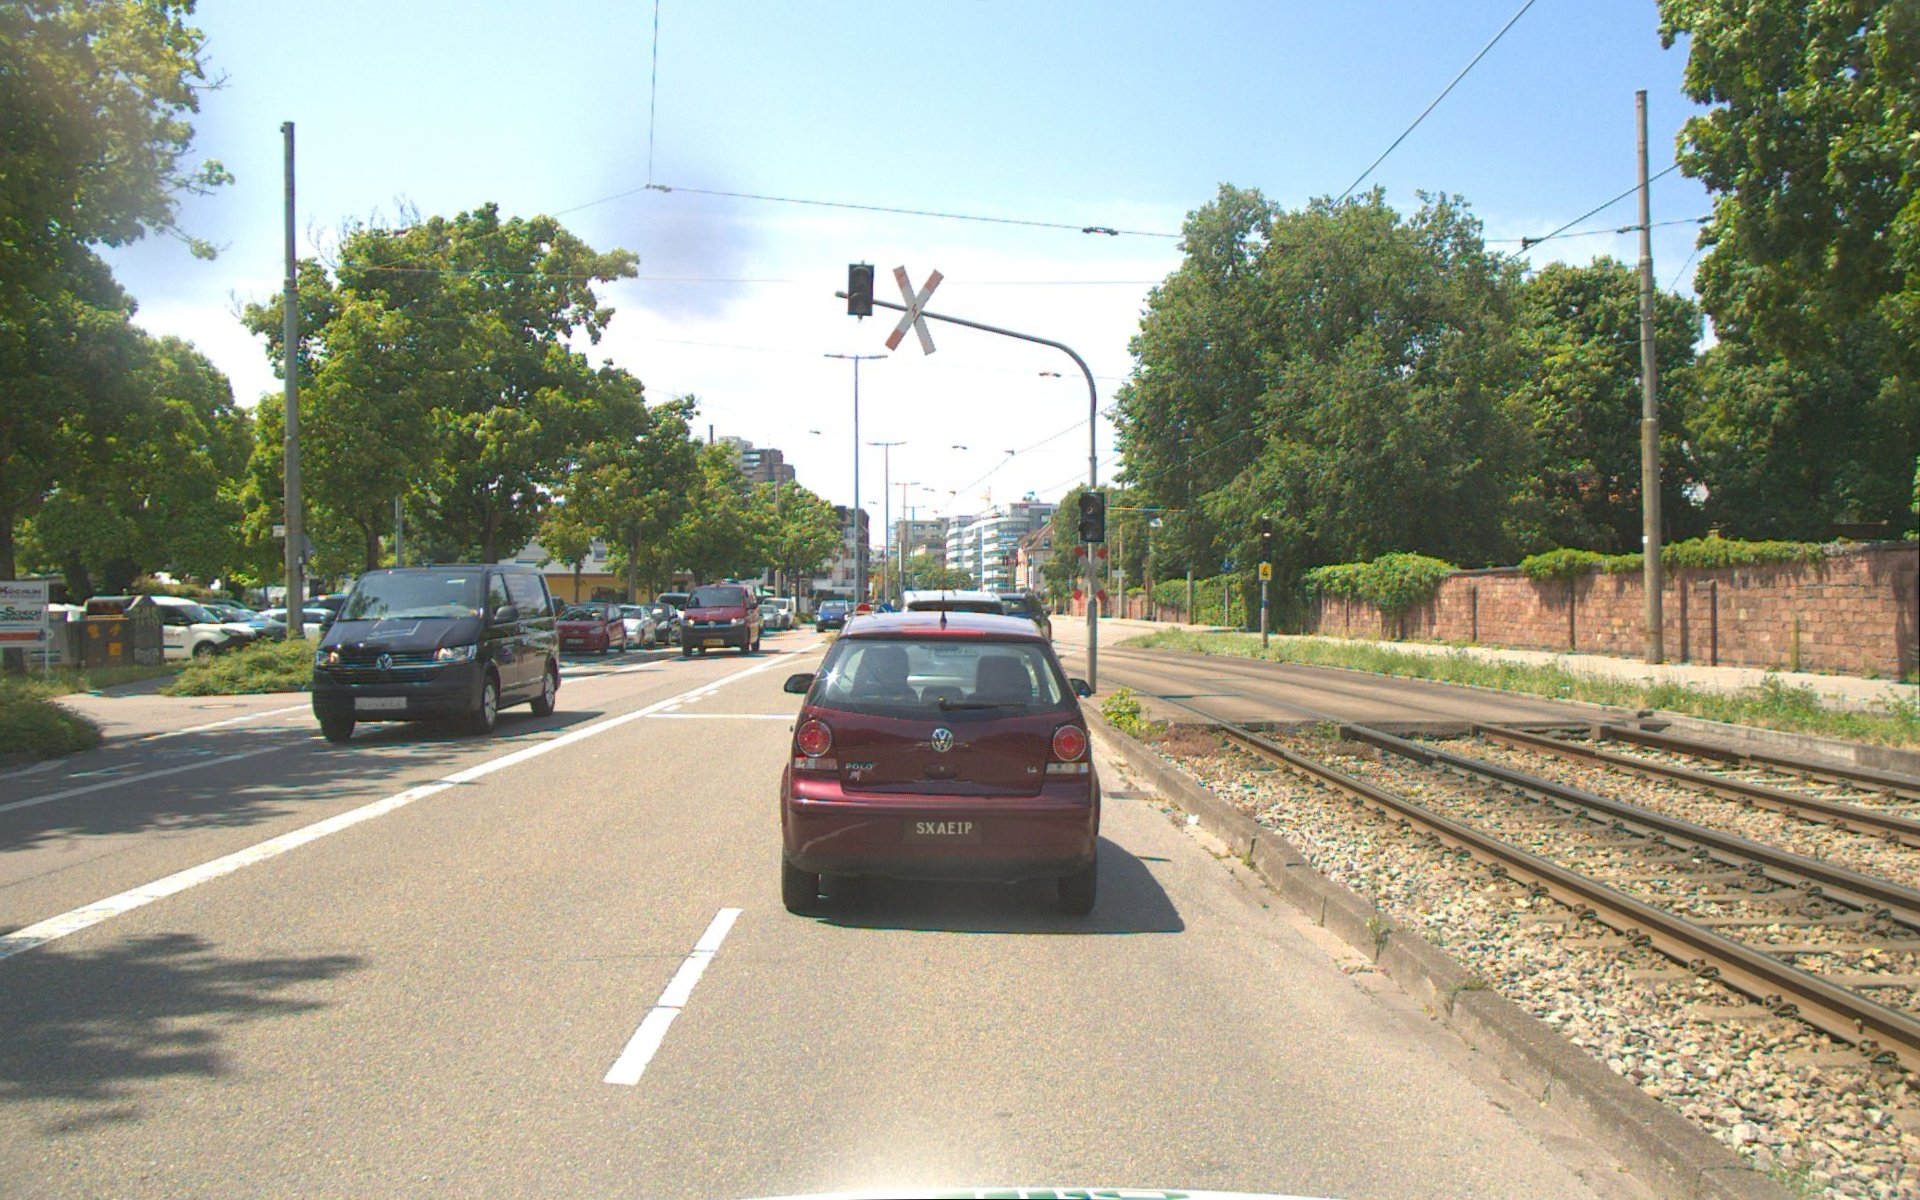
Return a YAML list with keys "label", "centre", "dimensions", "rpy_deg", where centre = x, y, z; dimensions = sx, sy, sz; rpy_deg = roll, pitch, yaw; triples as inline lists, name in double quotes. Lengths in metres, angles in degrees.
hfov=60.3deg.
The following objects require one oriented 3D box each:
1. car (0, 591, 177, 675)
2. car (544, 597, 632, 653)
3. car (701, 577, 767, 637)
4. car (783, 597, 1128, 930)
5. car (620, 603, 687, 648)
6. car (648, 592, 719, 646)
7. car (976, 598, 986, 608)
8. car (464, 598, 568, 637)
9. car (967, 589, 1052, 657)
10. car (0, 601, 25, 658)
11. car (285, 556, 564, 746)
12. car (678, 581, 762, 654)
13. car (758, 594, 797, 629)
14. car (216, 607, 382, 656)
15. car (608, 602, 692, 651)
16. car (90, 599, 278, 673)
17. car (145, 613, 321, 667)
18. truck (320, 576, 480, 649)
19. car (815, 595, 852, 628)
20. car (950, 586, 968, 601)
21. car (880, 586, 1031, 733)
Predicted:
- label: "car"
  centre: [-21.199, 0.756, 39.143]
  dimensions: [4.361, 1.889, 2.059]
  rpy_deg: [-1, 0, -5]
- label: "car"
  centre: [-10.933, 0.733, 48.787]
  dimensions: [1.637, 1.573, 3.727]
  rpy_deg: [1, -1, 1]
- label: "car"
  centre: [-11.137, 0.334, 81.967]
  dimensions: [2.350, 2.703, 6.171]
  rpy_deg: [3, 0, -1]
- label: "car"
  centre: [-0.127, 0.757, 9.630]
  dimensions: [1.577, 1.524, 3.997]
  rpy_deg: [1, 0, -3]
- label: "car"
  centre: [-11.081, 0.895, 59.977]
  dimensions: [1.581, 1.510, 3.785]
  rpy_deg: [3, 0, 1]
- label: "car"
  centre: [-11.023, 0.736, 66.231]
  dimensions: [1.824, 1.971, 4.806]
  rpy_deg: [3, 0, 1]
- label: "car"
  centre: [2.786, 0.390, 221.312]
  dimensions: [1.326, 1.274, 2.972]
  rpy_deg: [1, 0, -1]
- label: "car"
  centre: [-21.924, 0.866, 81.791]
  dimensions: [4.623, 1.845, 1.796]
  rpy_deg: [-1, 0, -3]
- label: "car"
  centre: [1.343, 0.575, 43.200]
  dimensions: [1.736, 1.659, 4.003]
  rpy_deg: [1, 0, 9]
- label: "car"
  centre: [-33.630, 0.967, 54.882]
  dimensions: [4.044, 1.852, 1.970]
  rpy_deg: [0, 0, -2]
- label: "car"
  centre: [-6.177, 0.533, 19.666]
  dimensions: [1.879, 1.944, 4.570]
  rpy_deg: [-2, 0, -1]
- label: "car"
  centre: [-6.872, 0.480, 47.769]
  dimensions: [1.861, 1.959, 4.817]
  rpy_deg: [-2, 0, -3]
- label: "car"
  centre: [-11.182, 0.708, 101.591]
  dimensions: [1.837, 1.999, 5.163]
  rpy_deg: [3, 0, -1]
- label: "car"
  centre: [-21.885, 1.040, 54.896]
  dimensions: [4.666, 1.514, 2.057]
  rpy_deg: [-1, 0, -3]
- label: "car"
  centre: [-10.153, 0.833, 54.524]
  dimensions: [1.683, 1.452, 4.772]
  rpy_deg: [-3, 0, 2]
- label: "car"
  centre: [-20.543, 0.945, 43.877]
  dimensions: [4.178, 1.867, 1.673]
  rpy_deg: [-1, 0, 1]
- label: "car"
  centre: [-20.626, 1.110, 47.076]
  dimensions: [4.114, 1.428, 2.079]
  rpy_deg: [-1, 0, -5]
- label: "truck"
  centre: [-22.204, 0.484, 65.742]
  dimensions: [5.464, 2.808, 2.432]
  rpy_deg: [-1, 0, 0]
- label: "car"
  centre: [-6.729, 0.590, 88.019]
  dimensions: [1.702, 1.686, 4.065]
  rpy_deg: [-1, 0, -1]
- label: "car"
  centre: [-0.170, -0.799, 214.793]
  dimensions: [1.881, 1.944, 4.565]
  rpy_deg: [-1, 0, -6]
- label: "car"
  centre: [-0.102, 0.702, 21.459]
  dimensions: [1.759, 1.712, 3.999]
  rpy_deg: [1, 0, -1]
